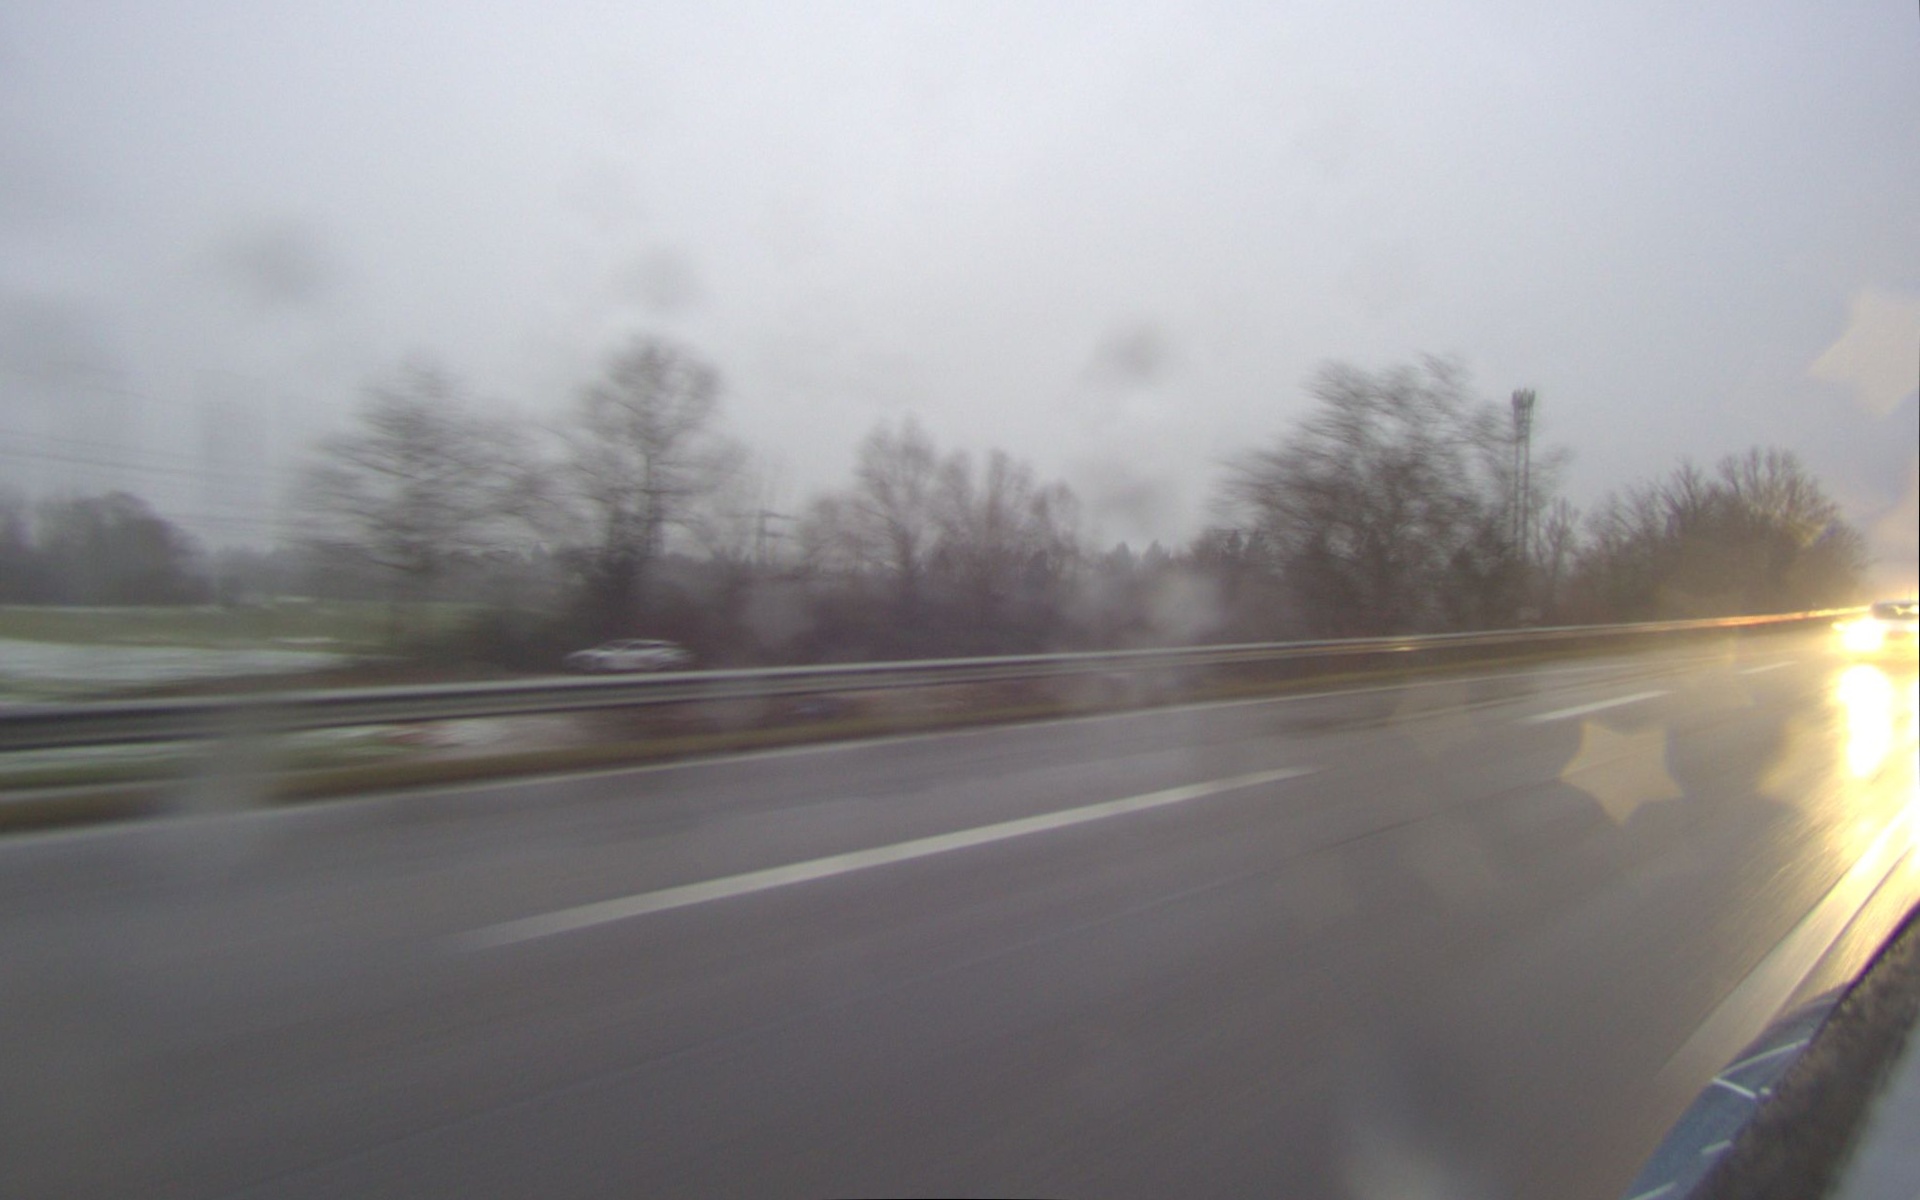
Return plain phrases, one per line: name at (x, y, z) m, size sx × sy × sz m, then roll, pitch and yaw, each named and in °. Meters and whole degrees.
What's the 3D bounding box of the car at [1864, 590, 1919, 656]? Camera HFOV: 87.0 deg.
car at (23.529, 0.551, 24.799) m, size 3.933 × 1.522 × 1.798 m, roll 1°, pitch -1°, yaw -44°
